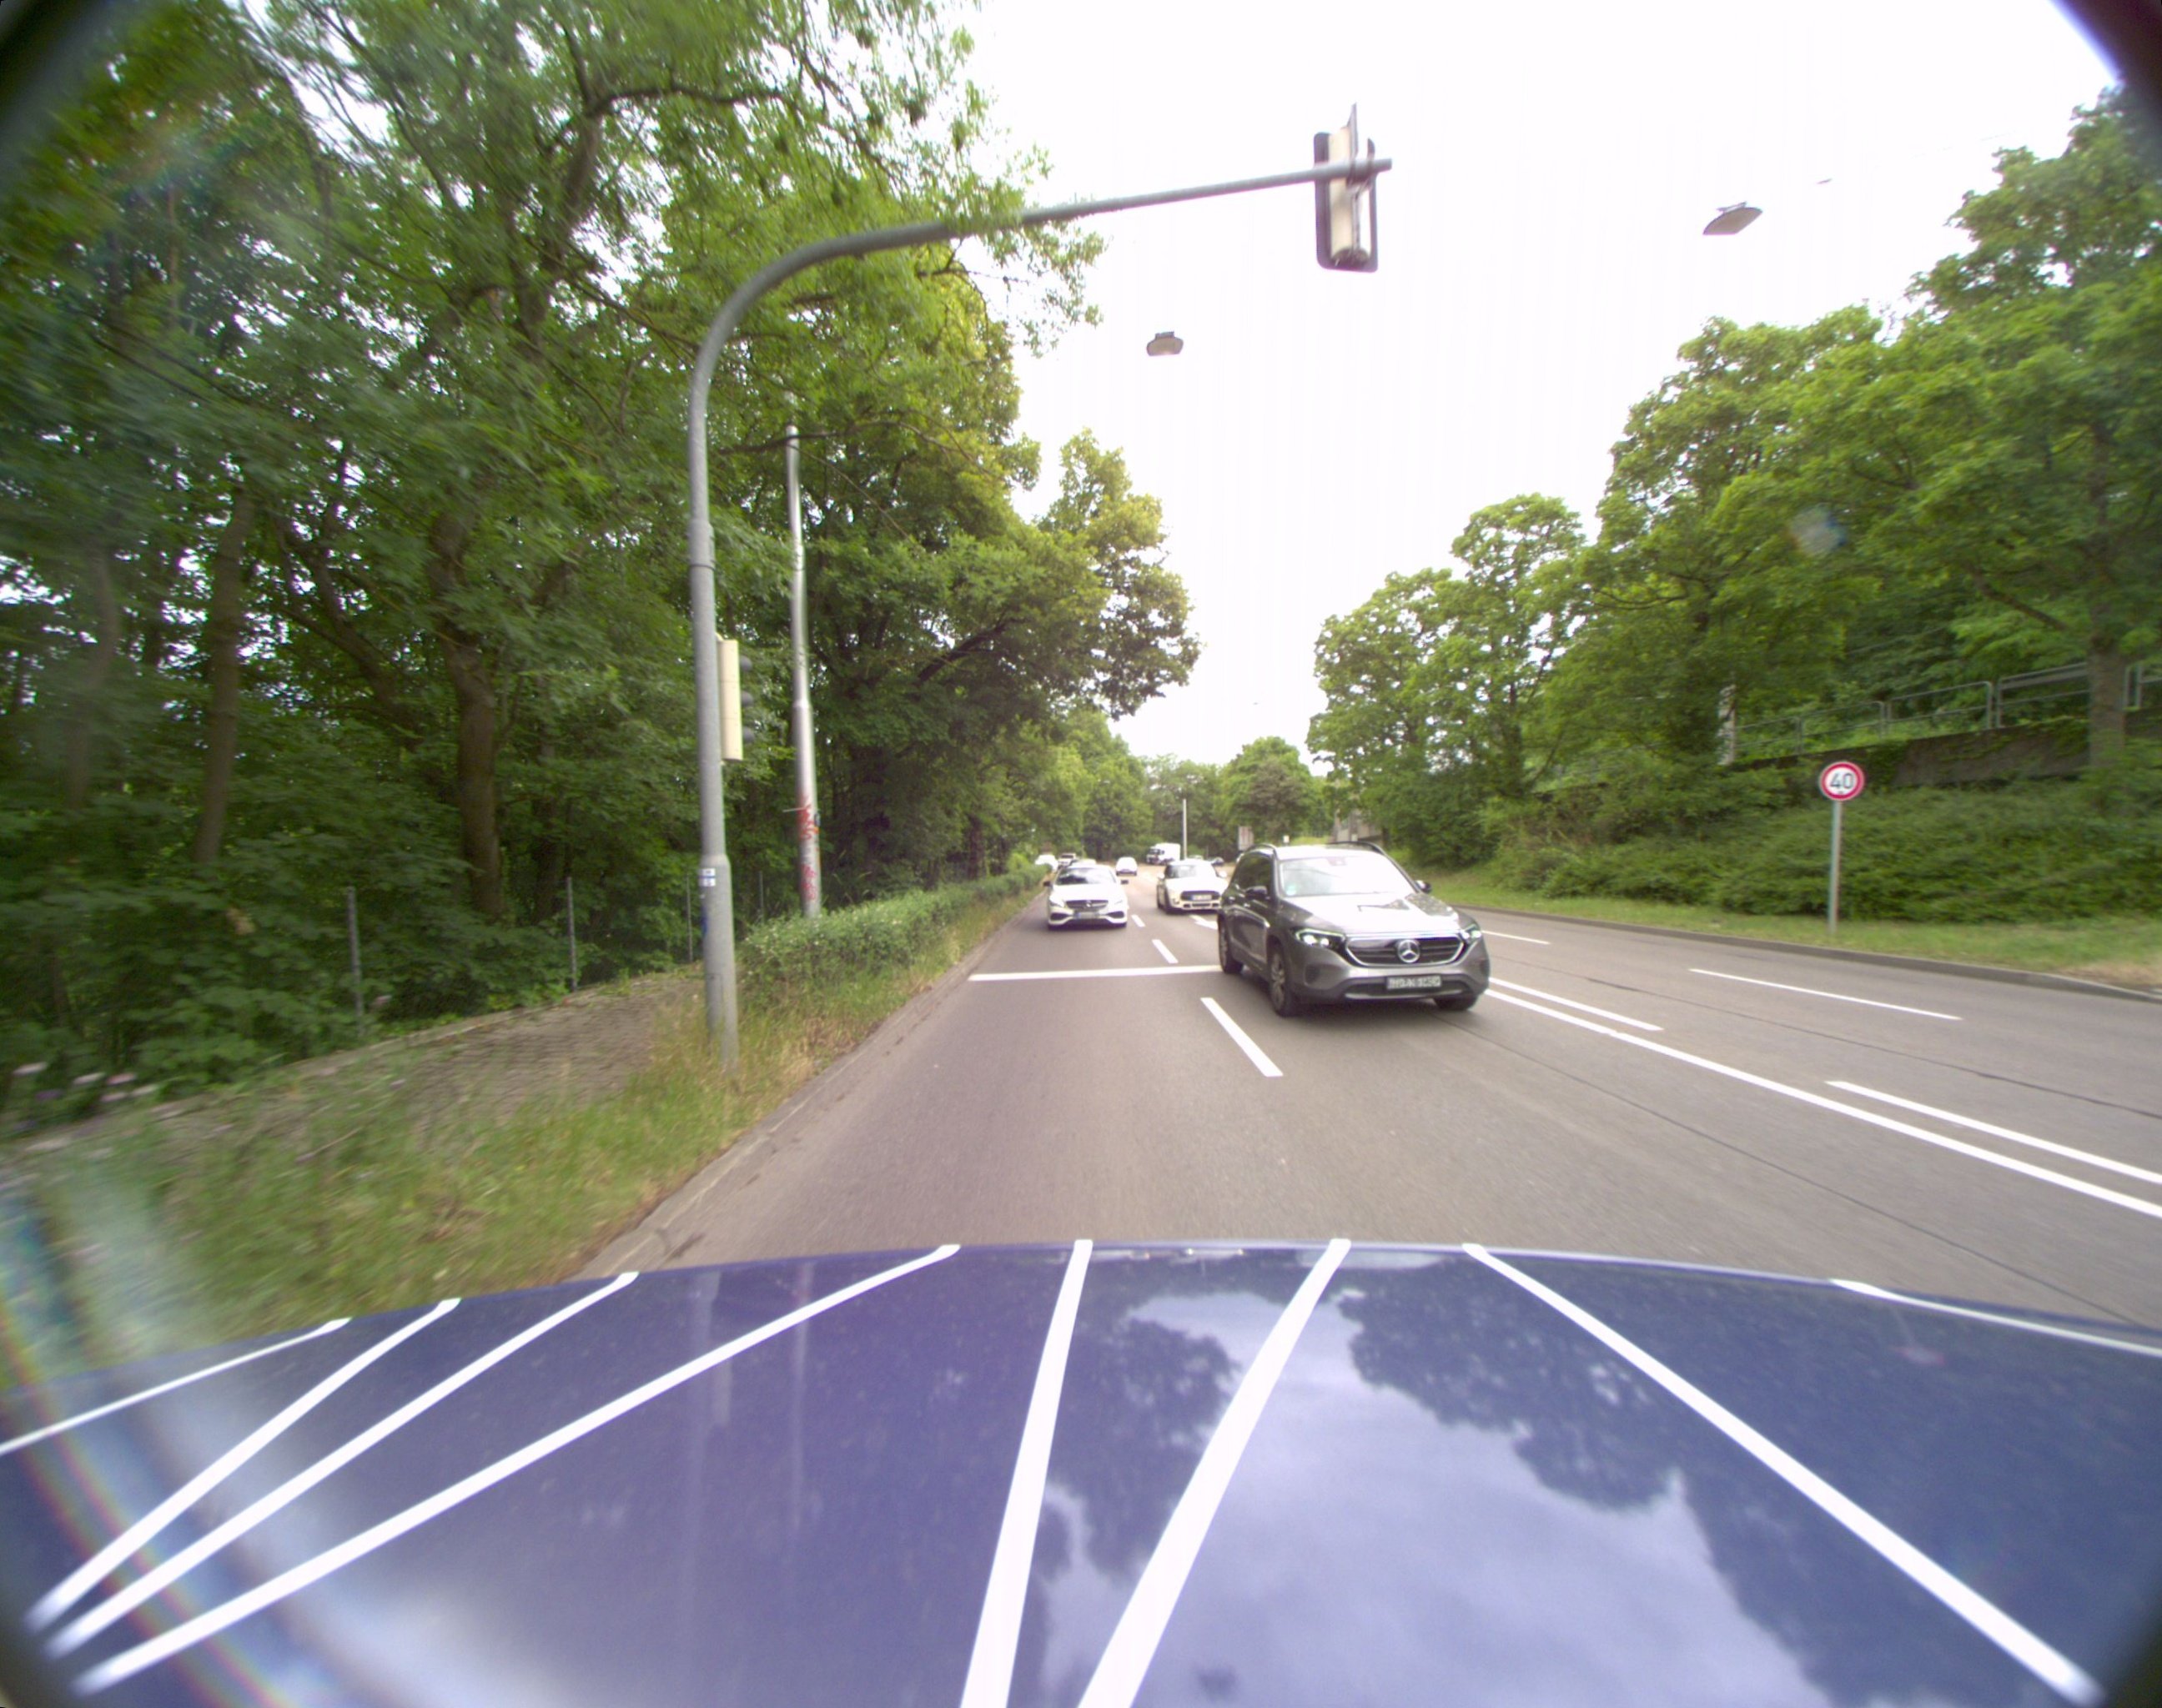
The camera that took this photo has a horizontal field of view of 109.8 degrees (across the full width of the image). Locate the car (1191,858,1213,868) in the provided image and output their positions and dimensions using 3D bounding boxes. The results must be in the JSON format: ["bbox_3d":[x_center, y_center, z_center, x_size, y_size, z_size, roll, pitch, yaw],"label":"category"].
[{"bbox_3d":[18.470,1.354,115.760,1.761,1.433,3.900,1,0,35],"label":"car"}]

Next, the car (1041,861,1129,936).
[{"bbox_3d":[0.112,0.966,18.205,1.801,1.470,4.010,-2,0,1],"label":"car"}]

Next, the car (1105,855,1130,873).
[{"bbox_3d":[2.818,0.751,59.543,1.664,1.382,4.182,-1,0,-1],"label":"car"}]

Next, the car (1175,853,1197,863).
[{"bbox_3d":[16.316,0.615,118.029,1.751,1.354,4.019,3,1,34],"label":"car"}]

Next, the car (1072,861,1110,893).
[{"bbox_3d":[0.481,1.126,38.575,1.755,1.417,4.010,3,1,0],"label":"car"}]

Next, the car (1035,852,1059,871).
[{"bbox_3d":[-2.738,0.590,62.096,1.765,1.433,3.892,1,0,1],"label":"car"}]

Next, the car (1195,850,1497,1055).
[{"bbox_3d":[2.499,0.812,8.405,1.854,1.641,4.357,-1,0,1],"label":"car"}]

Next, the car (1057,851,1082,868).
[{"bbox_3d":[-1.111,0.538,77.140,1.754,1.575,4.014,1,0,10],"label":"car"}]

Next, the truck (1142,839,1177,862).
[{"bbox_3d":[11.348,-0.433,109.866,2.195,3.137,6.665,1,0,33],"label":"truck"}]

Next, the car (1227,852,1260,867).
[{"bbox_3d":[25.514,0.897,119.217,2.280,2.187,6.471,-1,0,39],"label":"car"}]

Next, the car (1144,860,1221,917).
[{"bbox_3d":[2.792,0.901,21.578,1.688,1.415,3.733,-1,0,1],"label":"car"}]
